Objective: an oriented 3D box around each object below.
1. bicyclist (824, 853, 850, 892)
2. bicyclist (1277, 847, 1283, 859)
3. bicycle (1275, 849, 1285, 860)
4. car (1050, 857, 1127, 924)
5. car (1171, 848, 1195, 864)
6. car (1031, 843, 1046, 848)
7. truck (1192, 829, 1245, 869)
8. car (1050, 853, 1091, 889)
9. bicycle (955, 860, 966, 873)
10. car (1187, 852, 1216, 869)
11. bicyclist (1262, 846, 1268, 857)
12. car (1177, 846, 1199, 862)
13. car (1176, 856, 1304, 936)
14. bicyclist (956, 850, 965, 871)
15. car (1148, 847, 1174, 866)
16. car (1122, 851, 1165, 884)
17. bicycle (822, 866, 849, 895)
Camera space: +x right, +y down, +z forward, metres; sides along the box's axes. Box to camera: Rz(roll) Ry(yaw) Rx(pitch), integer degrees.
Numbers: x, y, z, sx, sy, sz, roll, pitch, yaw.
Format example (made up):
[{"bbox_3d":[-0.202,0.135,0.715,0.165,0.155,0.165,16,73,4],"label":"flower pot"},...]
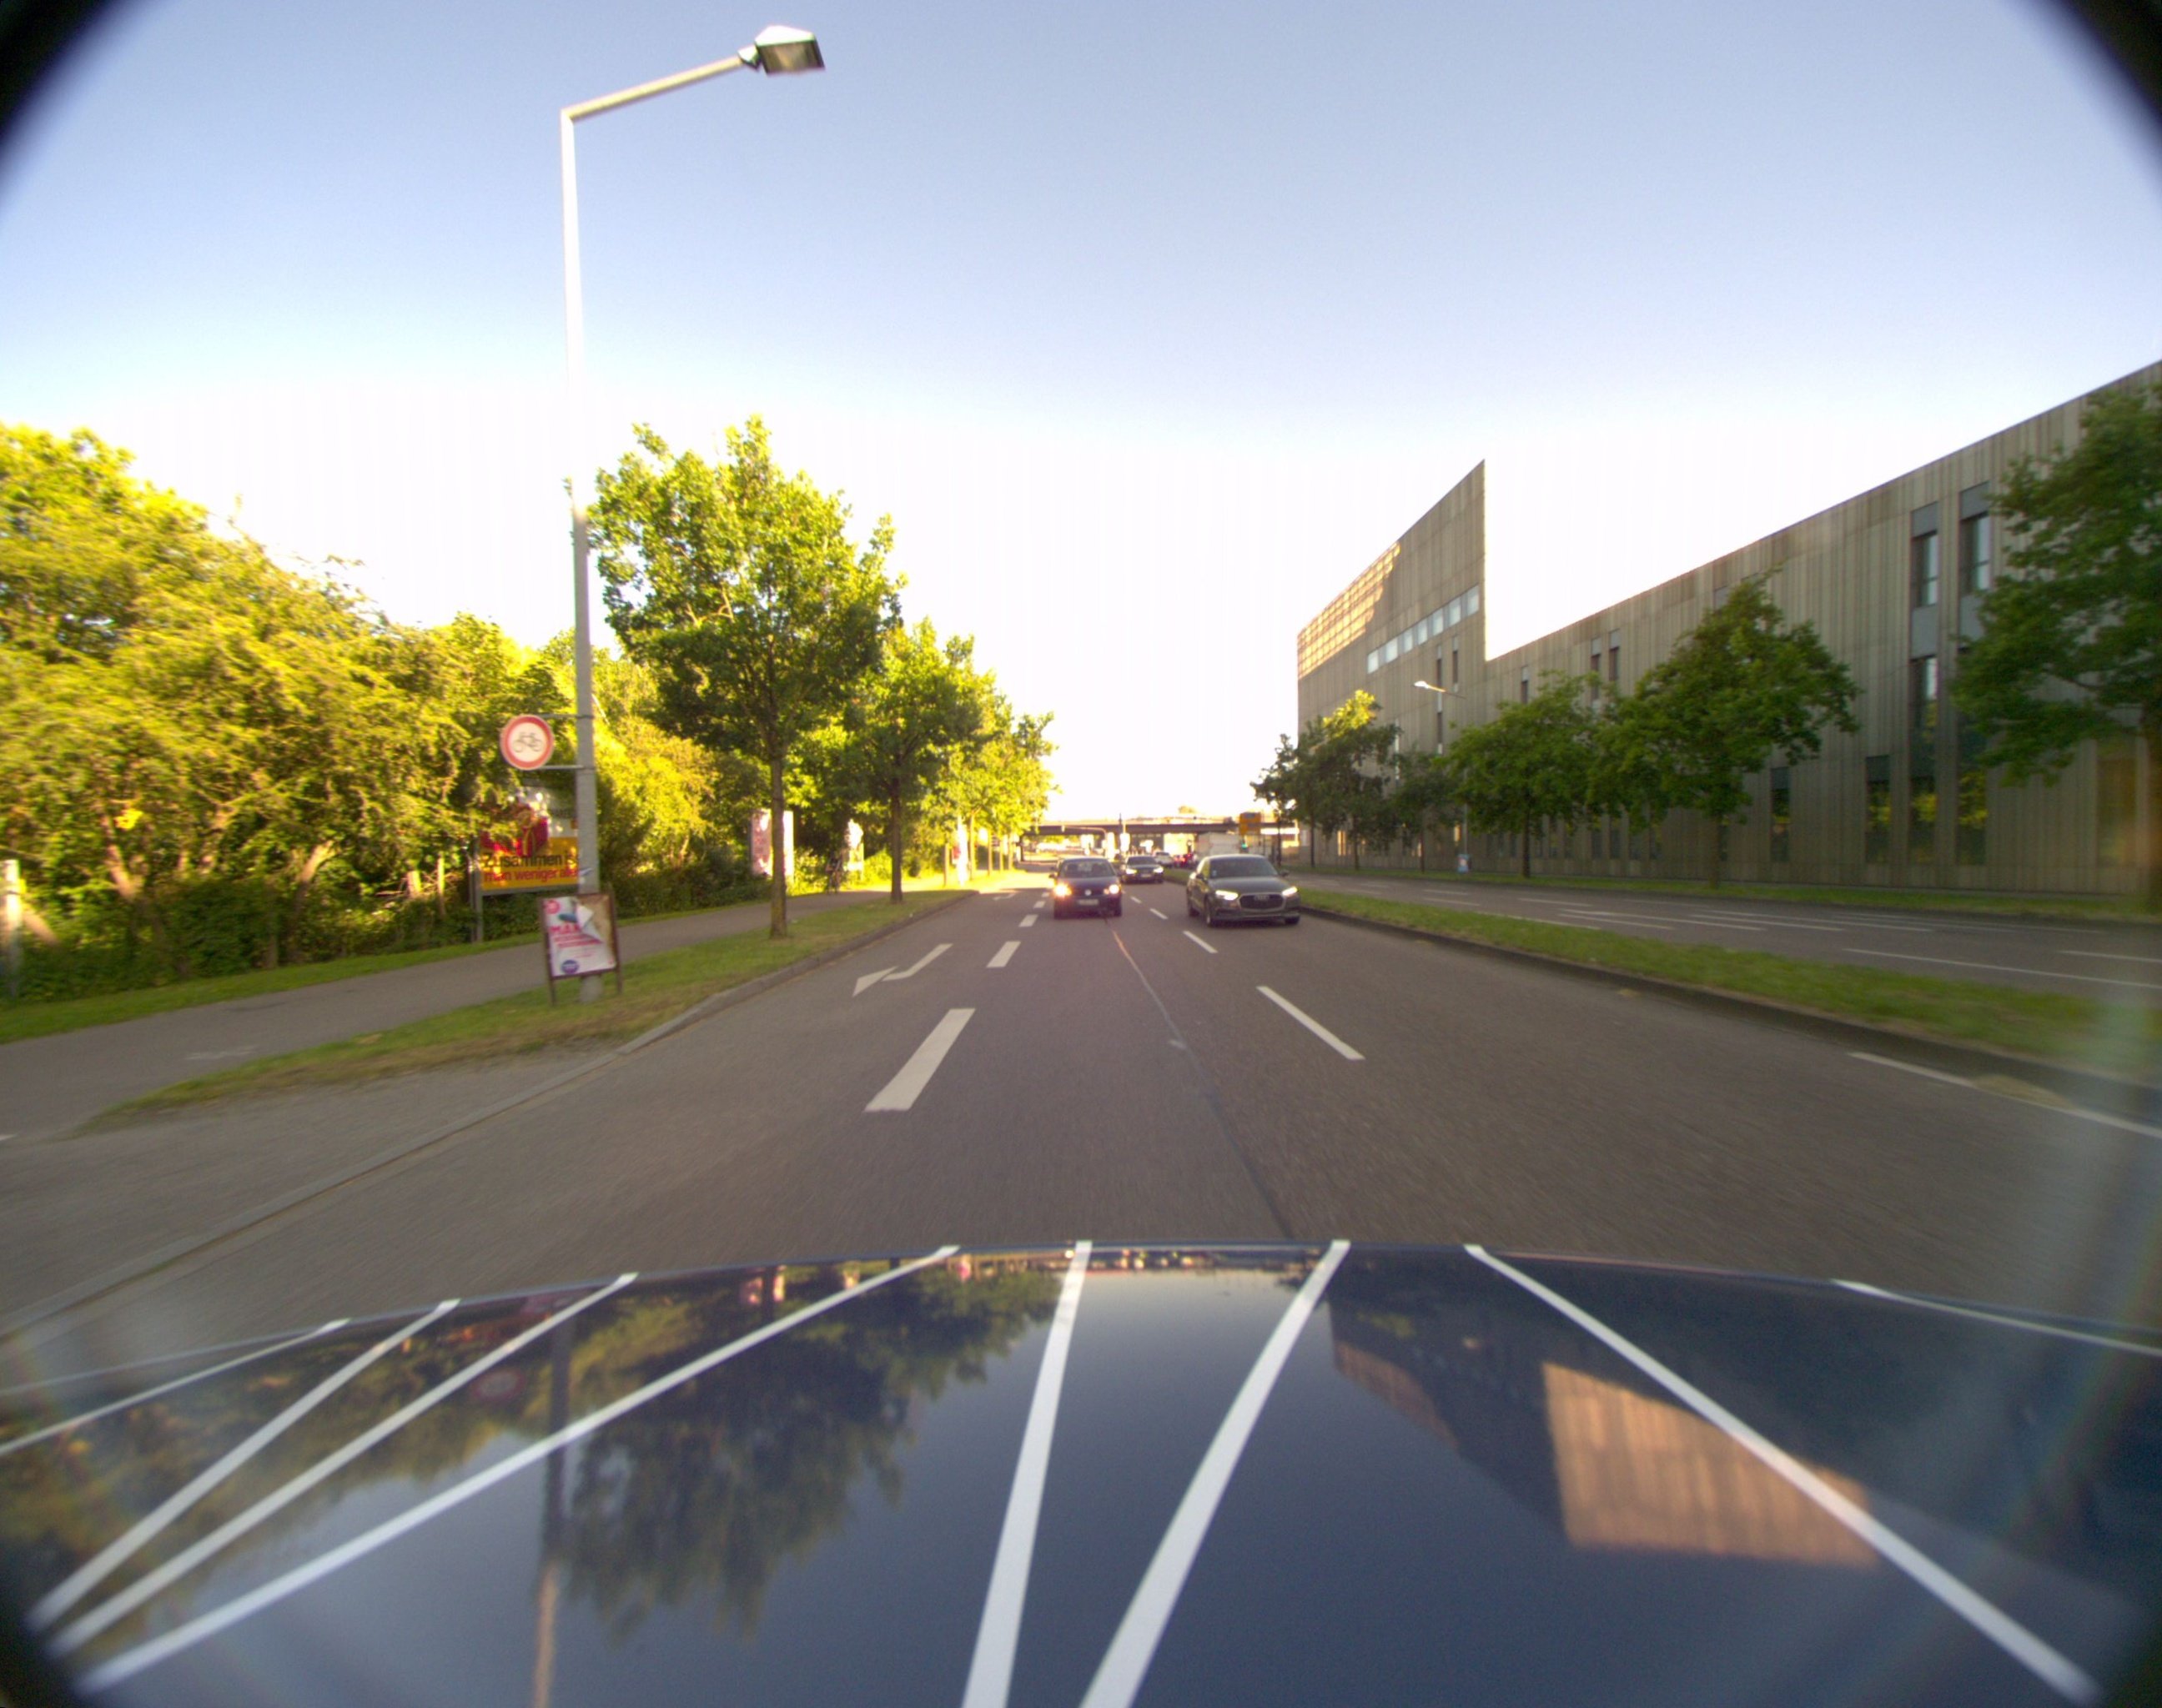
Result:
[{"bbox_3d":[-9.601,0.723,29.933,0.687,1.513,1.035,-1,1,-4],"label":"bicyclist"},{"bbox_3d":[24.829,-0.099,94.725,0.508,1.498,0.644,-1,1,-2],"label":"bicyclist"},{"bbox_3d":[24.826,0.057,94.792,0.513,1.262,2.099,-1,0,-2],"label":"bicycle"},{"bbox_3d":[0.124,0.857,19.446,1.702,1.474,4.052,-2,-1,-1],"label":"car"},{"bbox_3d":[10.570,0.194,78.811,1.846,1.646,3.999,0,1,-1],"label":"car"},{"bbox_3d":[-12.666,-2.498,224.575,1.994,1.433,4.867,0,1,-36],"label":"car"},{"bbox_3d":[10.638,-0.390,59.447,2.693,2.943,7.113,1,0,0],"label":"truck"},{"bbox_3d":[-0.474,0.704,33.767,1.702,1.478,3.945,-1,1,-1],"label":"car"},{"bbox_3d":[-9.492,0.976,60.075,0.573,0.986,2.046,-1,0,-1],"label":"bicycle"},{"bbox_3d":[10.602,0.560,66.861,1.840,1.415,3.999,0,0,-1],"label":"car"},{"bbox_3d":[23.324,-0.303,96.239,0.509,1.434,0.753,-1,1,-2],"label":"bicyclist"},{"bbox_3d":[10.341,0.001,73.585,1.624,1.461,3.639,1,0,-1],"label":"car"},{"bbox_3d":[3.225,0.782,16.260,1.702,1.396,4.364,-1,1,-2],"label":"car"},{"bbox_3d":[-9.482,0.504,59.922,0.566,1.600,0.865,-1,1,-2],"label":"bicyclist"},{"bbox_3d":[7.481,0.205,71.542,1.829,1.672,4.657,1,1,-1],"label":"car"},{"bbox_3d":[3.101,0.618,38.312,1.702,1.529,3.945,-1,1,-1],"label":"car"},{"bbox_3d":[-9.618,1.012,29.832,0.517,1.066,1.935,-1,1,-4],"label":"bicycle"}]
